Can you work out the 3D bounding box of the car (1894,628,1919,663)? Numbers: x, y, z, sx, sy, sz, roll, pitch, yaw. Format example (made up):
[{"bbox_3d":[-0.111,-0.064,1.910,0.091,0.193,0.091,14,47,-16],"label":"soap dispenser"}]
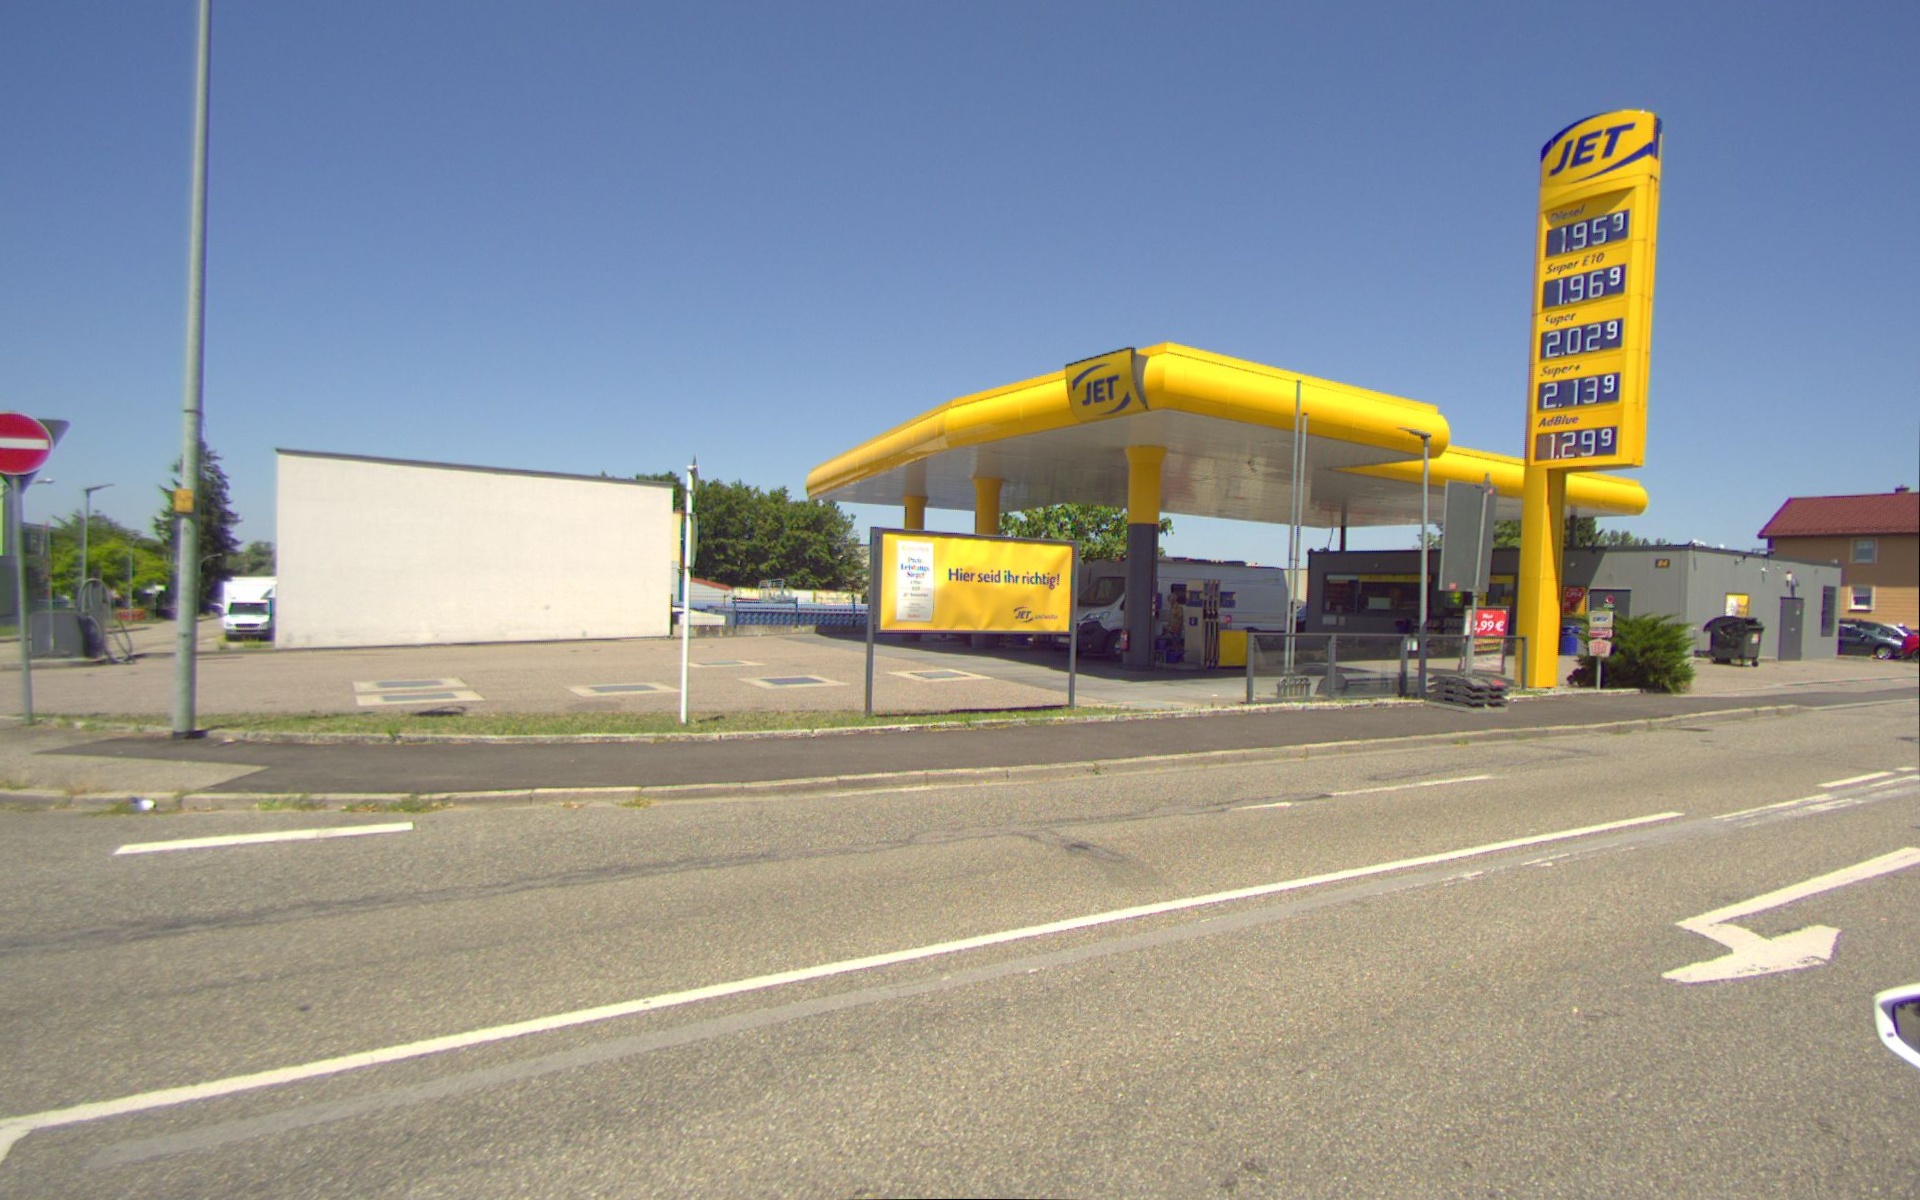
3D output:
[{"bbox_3d":[42.616,1.998,42.622,1.809,1.463,4.099,2,0,-35],"label":"car"}]

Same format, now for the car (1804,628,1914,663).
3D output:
[{"bbox_3d":[43.347,2.175,48.493,1.875,1.477,3.638,2,0,-36],"label":"car"}]

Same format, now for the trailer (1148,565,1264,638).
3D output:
[{"bbox_3d":[11.634,0.093,47.245,5.853,3.262,1.853,1,0,-35],"label":"trailer"}]

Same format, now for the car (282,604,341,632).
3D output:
[{"bbox_3d":[-44.178,1.249,68.505,3.175,1.874,1.563,1,0,-26],"label":"car"}]

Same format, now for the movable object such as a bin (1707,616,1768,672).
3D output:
[{"bbox_3d":[23.355,1.304,30.174,1.413,1.538,0.946,0,5,-34],"label":"movable object such as a bin"}]

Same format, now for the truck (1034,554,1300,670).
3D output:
[{"bbox_3d":[5.311,0.355,25.420,6.645,2.633,2.225,2,0,-27],"label":"truck"}]

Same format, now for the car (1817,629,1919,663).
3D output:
[{"bbox_3d":[44.980,2.228,49.657,1.875,1.477,3.638,2,0,-36],"label":"car"}]

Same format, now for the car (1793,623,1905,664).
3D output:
[{"bbox_3d":[41.787,2.008,47.260,1.875,1.732,3.637,2,0,-37],"label":"car"}]

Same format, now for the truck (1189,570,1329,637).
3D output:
[{"bbox_3d":[16.493,0.173,55.982,2.134,3.472,7.819,2,0,-35],"label":"truck"}]

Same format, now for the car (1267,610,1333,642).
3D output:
[{"bbox_3d":[15.097,1.150,44.538,2.983,1.326,1.288,2,0,-37],"label":"car"}]

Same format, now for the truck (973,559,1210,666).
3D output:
[{"bbox_3d":[3.954,0.417,30.615,6.618,2.952,2.641,2,0,-14],"label":"truck"}]

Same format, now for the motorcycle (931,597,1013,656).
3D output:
[{"bbox_3d":[0.433,0.939,35.693,2.753,2.040,0.835,2,0,-23],"label":"motorcycle"}]

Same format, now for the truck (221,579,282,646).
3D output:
[{"bbox_3d":[-38.443,0.661,54.587,2.282,3.468,4.682,2,0,-31],"label":"truck"}]

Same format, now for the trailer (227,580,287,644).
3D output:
[{"bbox_3d":[-40.300,0.629,57.737,2.282,3.454,7.259,2,0,-31],"label":"trailer"}]

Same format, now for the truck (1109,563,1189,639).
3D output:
[{"bbox_3d":[8.499,0.027,45.069,3.156,3.286,1.834,0,1,-34],"label":"truck"}]
